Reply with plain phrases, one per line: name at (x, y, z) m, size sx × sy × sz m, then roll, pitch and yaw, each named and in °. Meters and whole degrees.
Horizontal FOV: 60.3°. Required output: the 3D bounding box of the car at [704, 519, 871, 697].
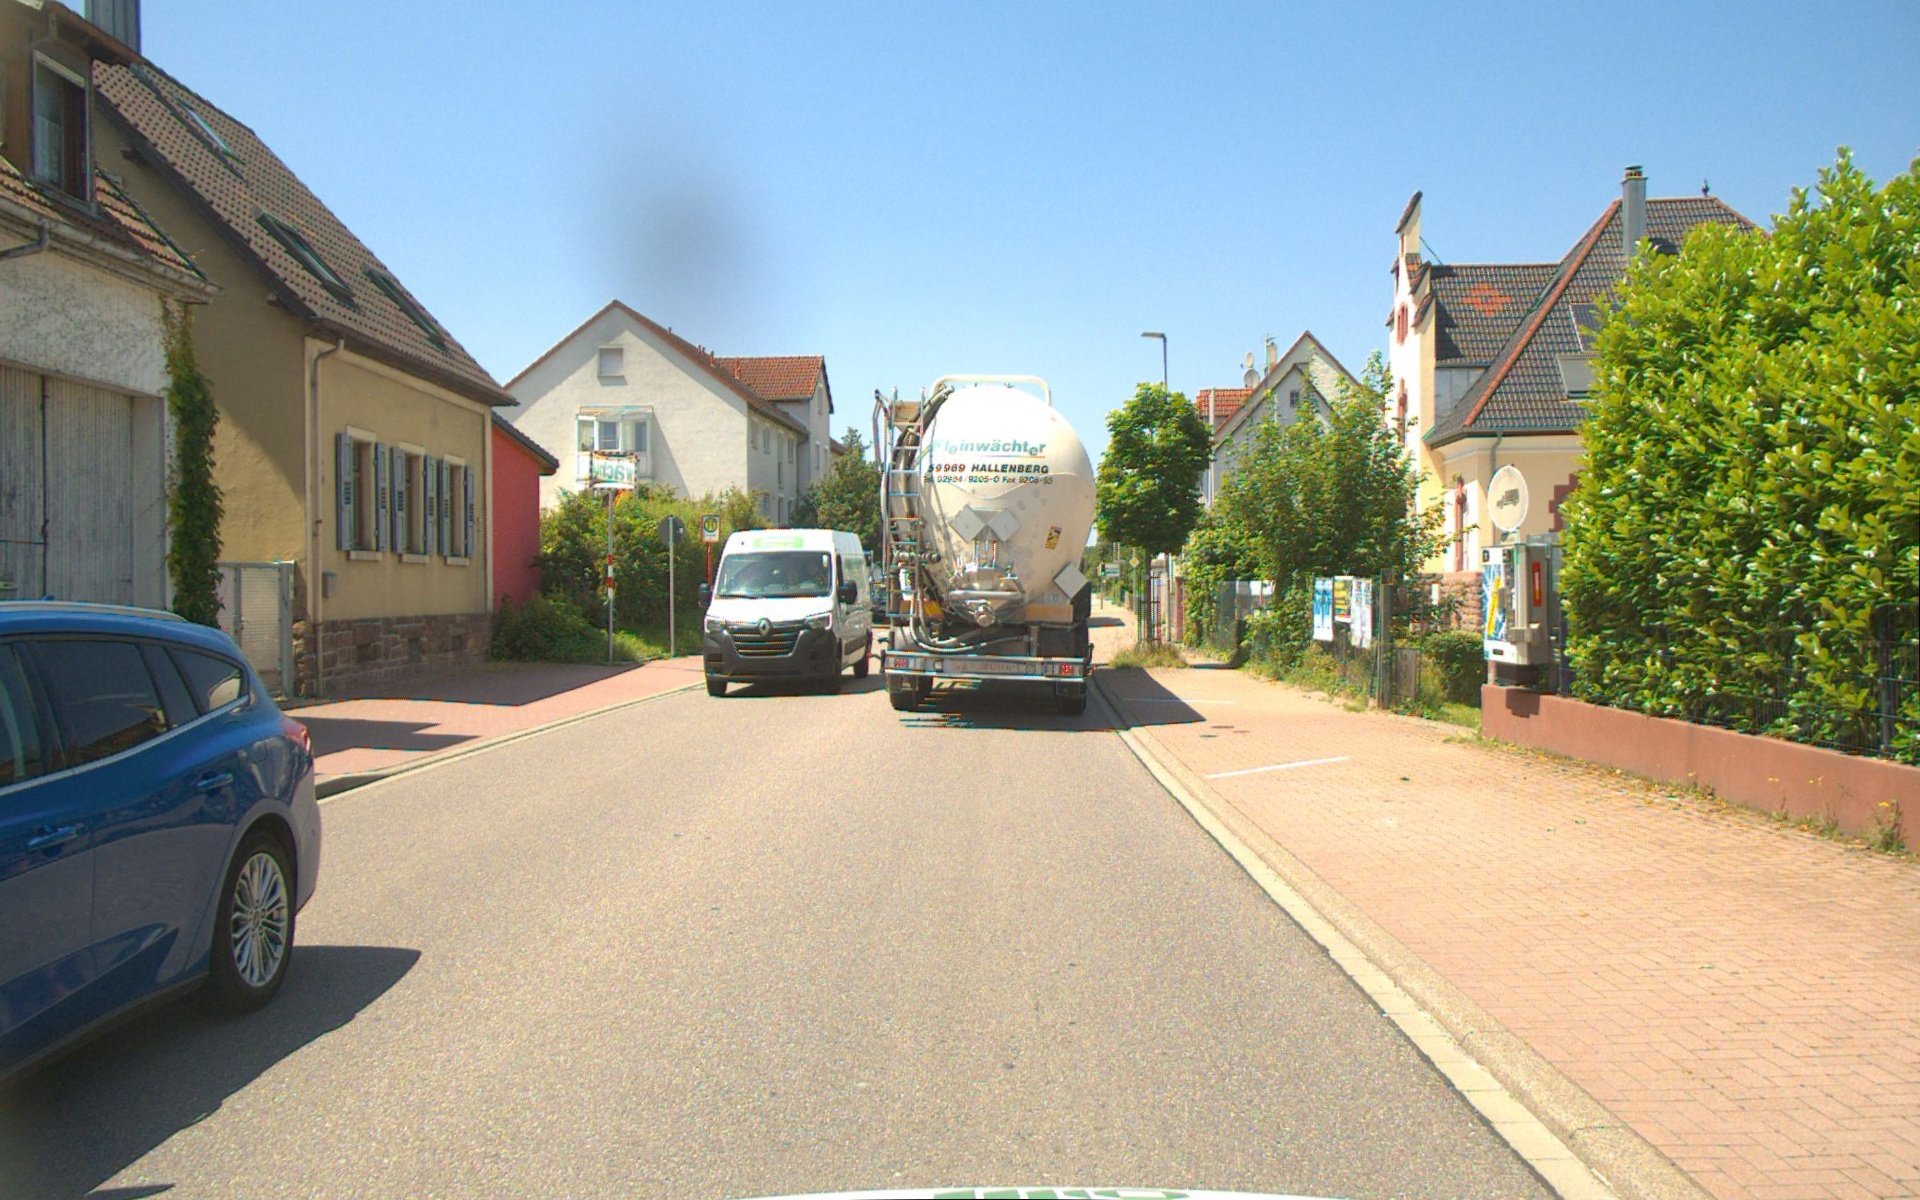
car at (-2.622, 0.097, 26.549) m, size 1.988 × 2.504 × 6.068 m, roll -1°, pitch 0°, yaw 0°

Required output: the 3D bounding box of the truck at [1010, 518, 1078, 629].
truck at (3.587, -1.066, 69.982) m, size 2.586 × 4.298 × 12.099 m, roll 0°, pitch 0°, yaw 3°

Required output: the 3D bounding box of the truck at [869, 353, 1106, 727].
truck at (0.406, -0.695, 22.880) m, size 2.586 × 4.086 × 9.563 m, roll 0°, pitch 0°, yaw 1°

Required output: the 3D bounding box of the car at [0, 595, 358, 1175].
car at (-3.289, 0.762, 4.574) m, size 1.612 × 1.479 × 4.400 m, roll -2°, pitch 0°, yaw 0°

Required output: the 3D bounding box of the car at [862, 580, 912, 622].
car at (-3.086, 0.011, 70.513) m, size 1.670 × 1.716 × 4.528 m, roll 1°, pitch 0°, yaw 3°
